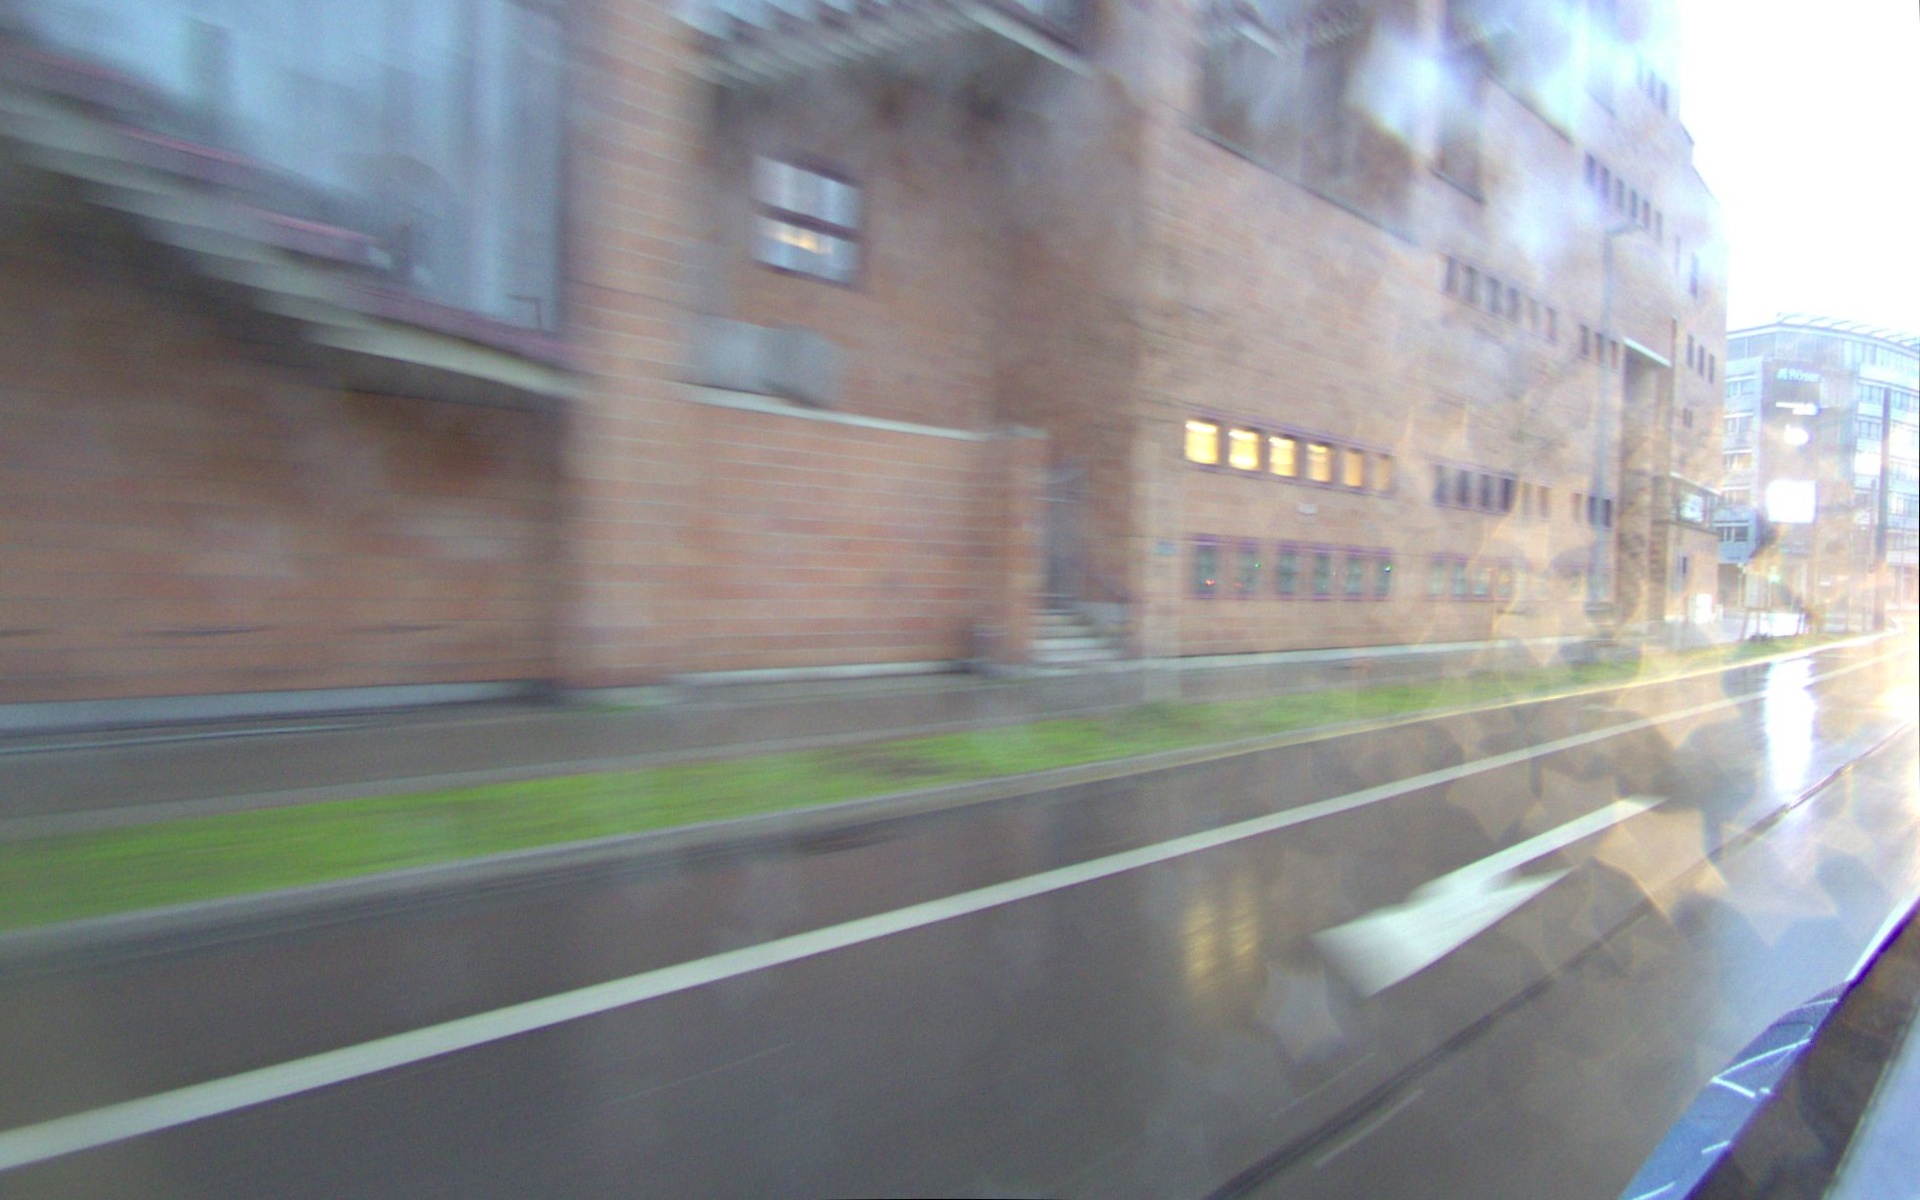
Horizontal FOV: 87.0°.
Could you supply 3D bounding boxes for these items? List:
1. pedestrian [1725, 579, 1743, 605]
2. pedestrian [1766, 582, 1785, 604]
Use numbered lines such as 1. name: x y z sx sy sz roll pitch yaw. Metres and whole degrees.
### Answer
1. pedestrian: 55.192 -0.554 72.163 0.789 1.833 0.647 2 1 16
2. pedestrian: 68.379 -0.621 84.853 1.147 1.809 0.766 3 2 40
